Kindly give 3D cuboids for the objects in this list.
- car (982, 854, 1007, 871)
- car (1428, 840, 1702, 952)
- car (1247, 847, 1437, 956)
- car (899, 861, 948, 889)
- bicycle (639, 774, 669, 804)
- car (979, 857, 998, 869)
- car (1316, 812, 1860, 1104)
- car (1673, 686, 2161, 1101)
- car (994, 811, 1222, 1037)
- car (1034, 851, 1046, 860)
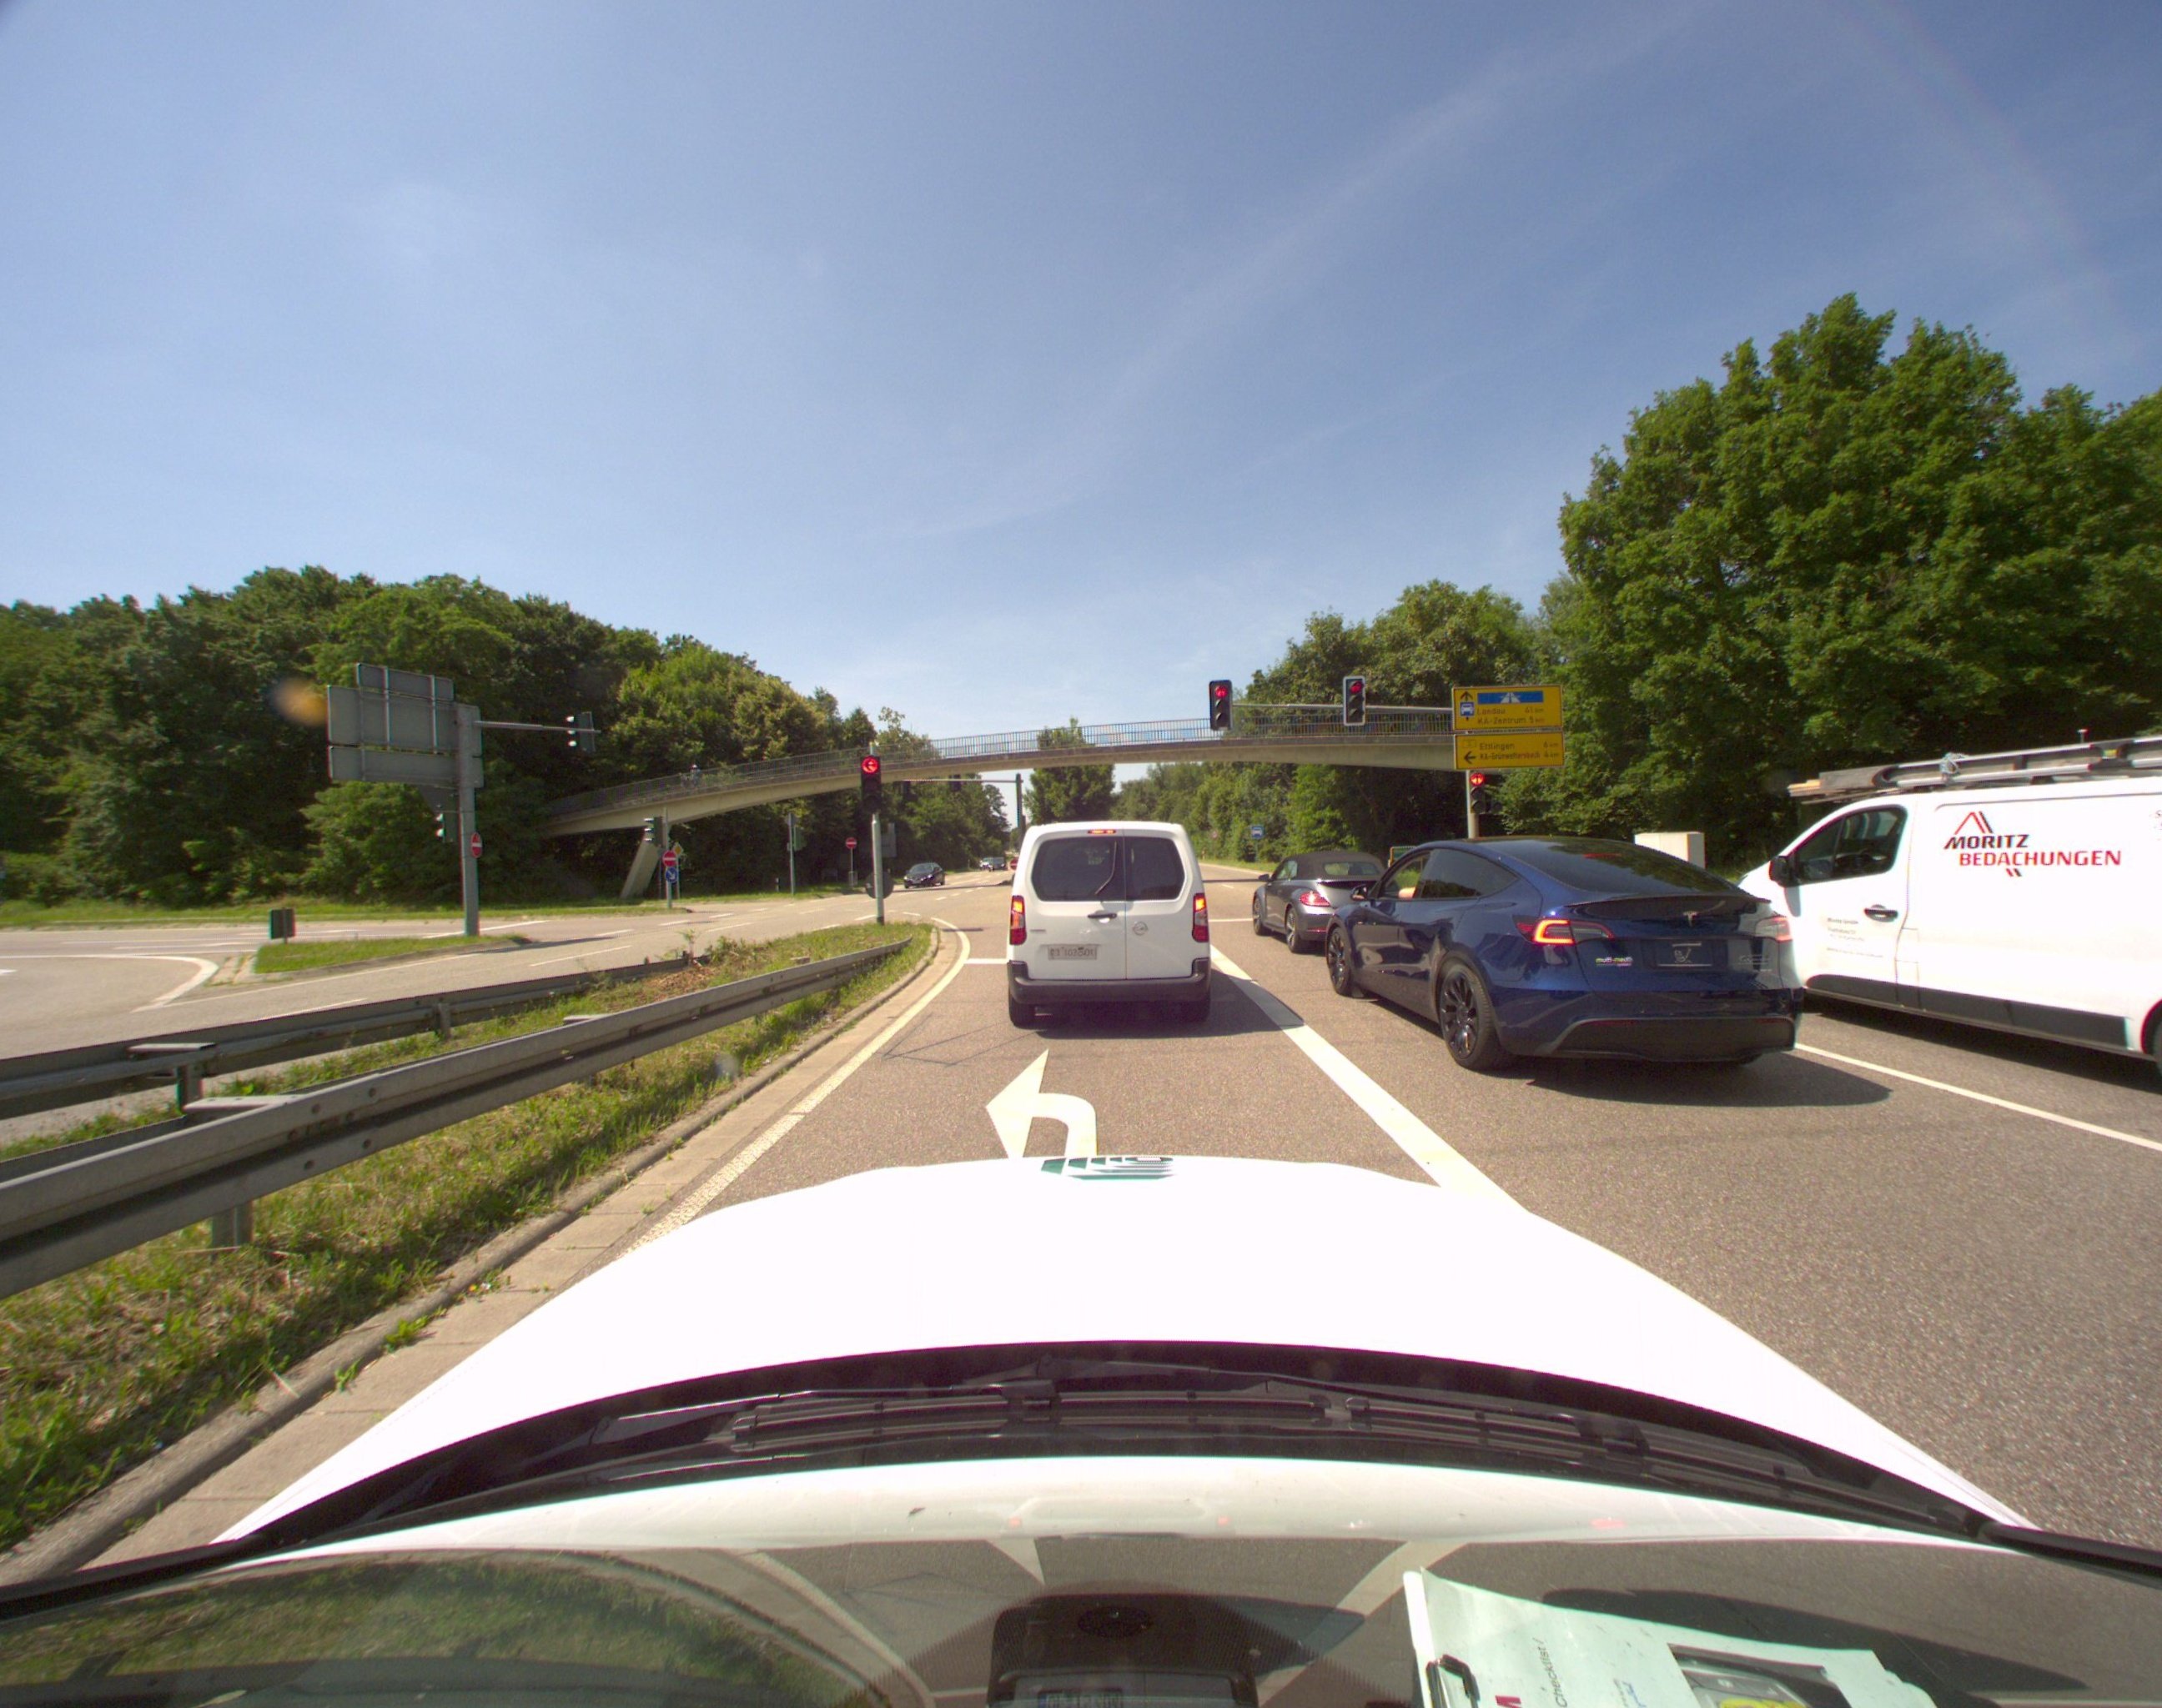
[{"bbox_3d":[-9.345,0.933,88.206,1.986,1.665,4.002,-3,0,2],"label":"car"},{"bbox_3d":[7.394,0.548,13.058,1.893,1.478,4.382,-1,0,2],"label":"car"},{"bbox_3d":[3.957,0.644,13.086,1.893,1.478,3.941,-1,0,2],"label":"car"},{"bbox_3d":[-9.564,1.249,49.635,2.001,1.460,4.057,-3,0,2],"label":"car"},{"bbox_3d":[-23.945,-3.642,45.684,1.514,1.474,0.472,-4,-2,17],"label":"bicycle"},{"bbox_3d":[-11.651,1.075,103.044,1.746,1.406,4.002,-3,0,2],"label":"car"},{"bbox_3d":[3.530,0.585,6.890,1.893,1.644,4.522,-1,0,2],"label":"car"},{"bbox_3d":[7.110,0.215,5.982,1.925,2.349,5.077,-1,0,1],"label":"car"},{"bbox_3d":[0.259,0.547,8.635,1.843,1.825,3.982,-1,1,1],"label":"car"},{"bbox_3d":[-8.003,0.369,160.671,1.986,1.665,4.002,-3,0,2],"label":"car"}]
